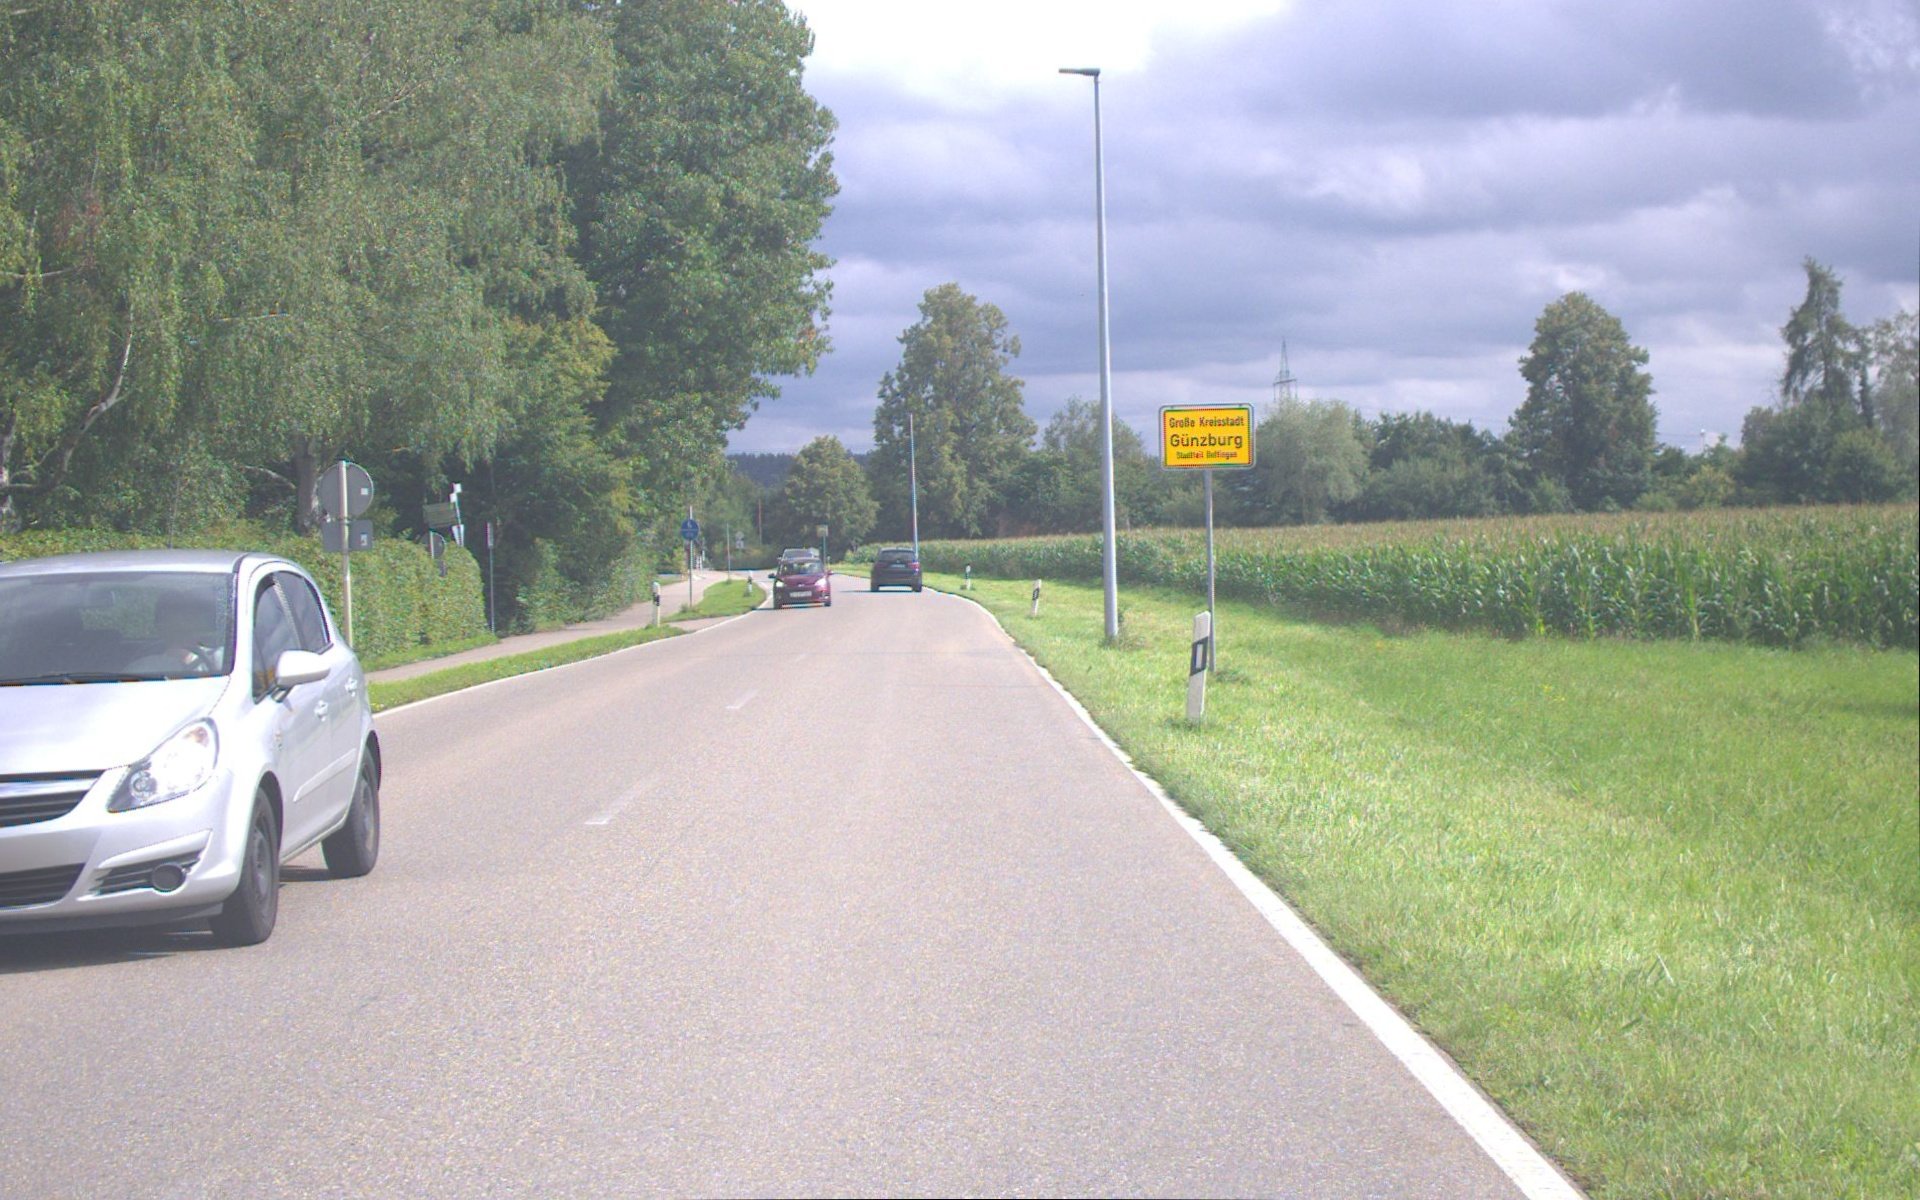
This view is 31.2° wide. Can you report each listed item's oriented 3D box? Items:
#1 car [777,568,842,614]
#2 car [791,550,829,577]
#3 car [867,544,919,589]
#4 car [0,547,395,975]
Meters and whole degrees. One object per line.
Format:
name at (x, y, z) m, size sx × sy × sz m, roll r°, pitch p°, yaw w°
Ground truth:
car at (-4.414, -0.281, 101.114) m, size 1.745 × 1.218 × 3.543 m, roll -2°, pitch 1°, yaw 0°
car at (-7.412, -1.818, 170.129) m, size 1.745 × 1.218 × 3.543 m, roll -2°, pitch 1°, yaw 0°
car at (-2.528, -1.274, 129.955) m, size 1.906 × 1.660 × 4.000 m, roll -1°, pitch 1°, yaw -1°
car at (-3.391, 0.543, 13.662) m, size 1.695 × 1.454 × 3.543 m, roll -2°, pitch 1°, yaw 0°
